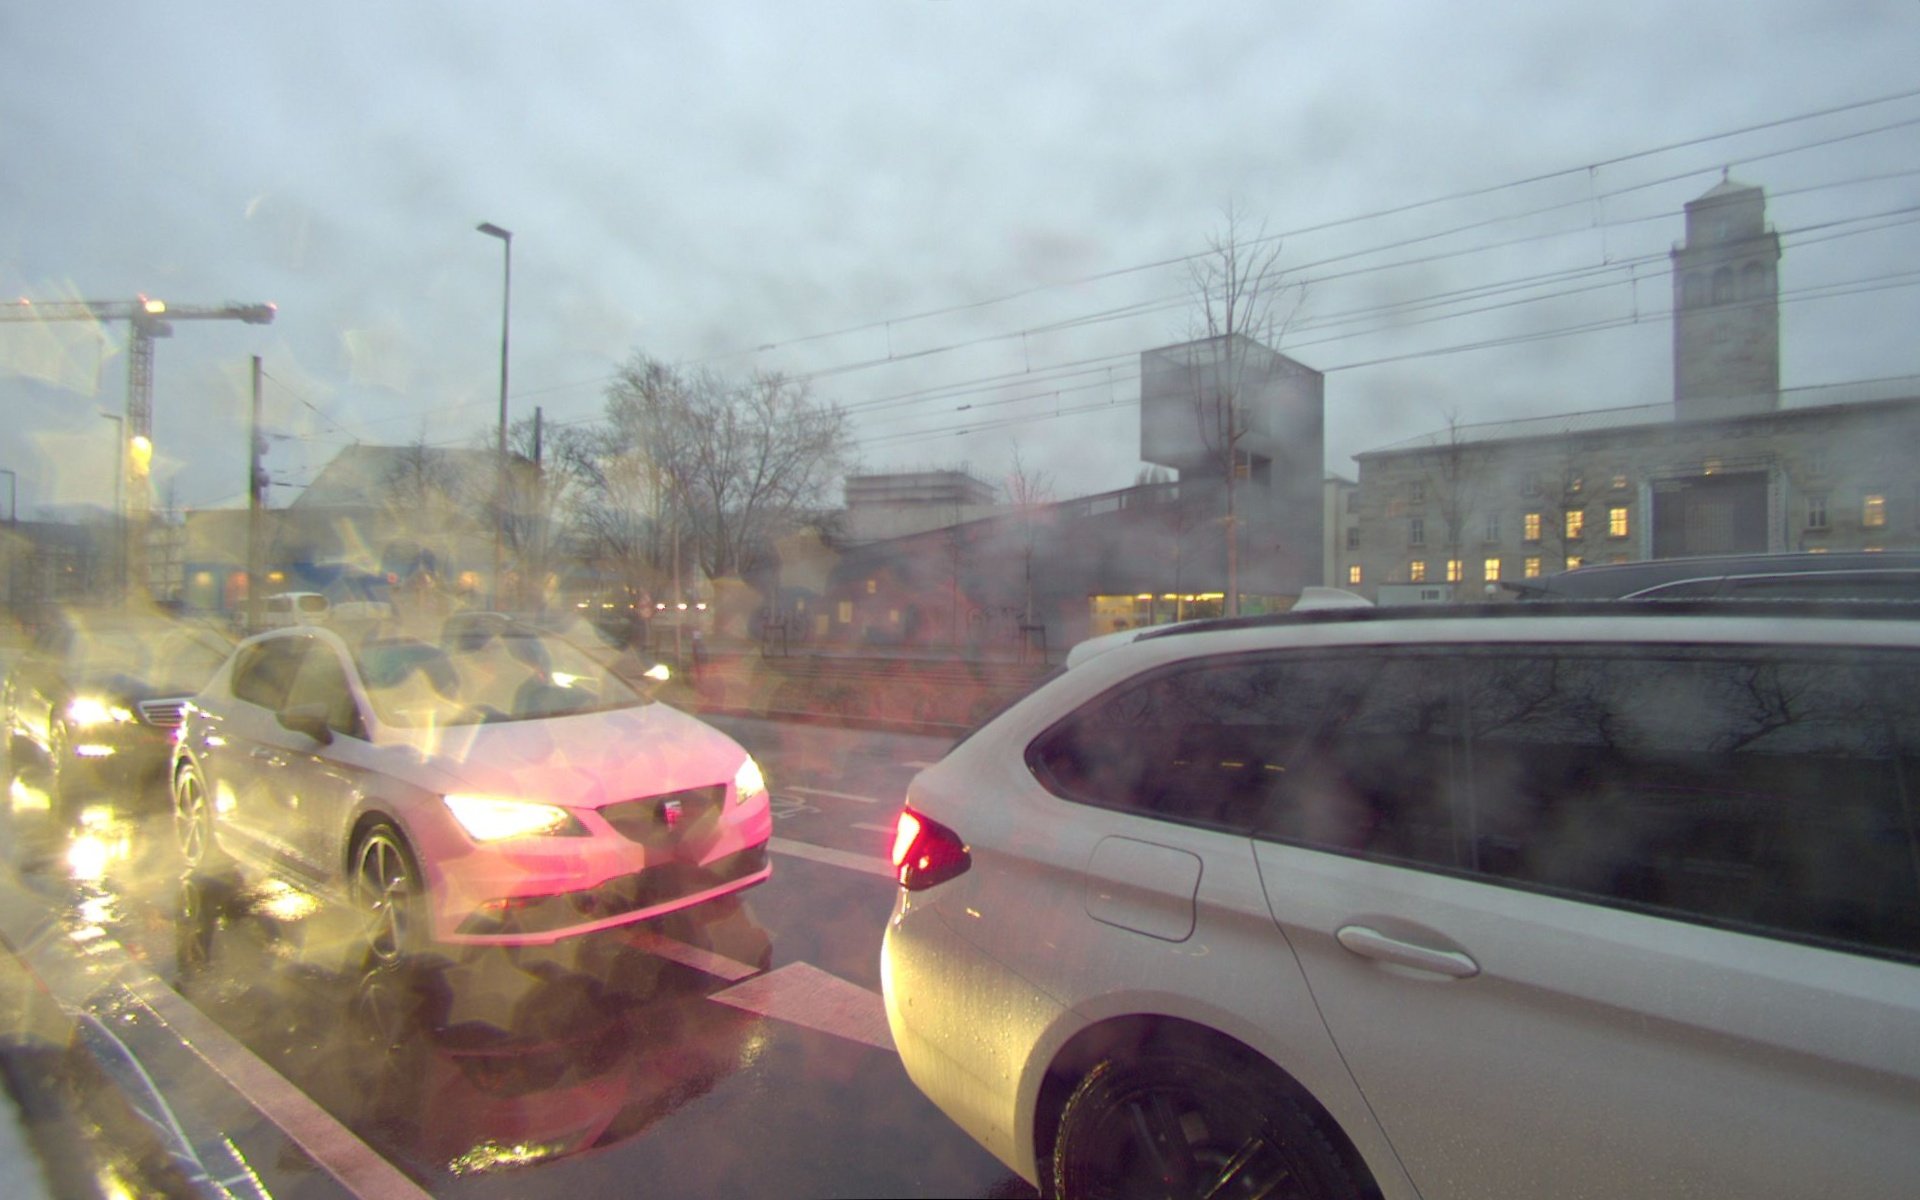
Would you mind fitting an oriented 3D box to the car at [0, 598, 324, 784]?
[{"bbox_3d":[-8.484,0.787,10.393,4.501,1.498,1.974,-1,-2,39],"label":"car"}]

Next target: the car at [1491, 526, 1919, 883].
[{"bbox_3d":[5.230,0.474,4.998,4.289,1.596,1.946,-1,-1,42],"label":"car"}]

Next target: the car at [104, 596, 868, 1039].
[{"bbox_3d":[-2.830,0.770,5.579,4.497,1.498,1.926,-1,0,37],"label":"car"}]

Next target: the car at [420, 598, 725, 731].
[{"bbox_3d":[-5.387,0.764,13.782,4.659,1.519,1.830,0,-1,39],"label":"car"}]

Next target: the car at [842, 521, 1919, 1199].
[{"bbox_3d":[2.092,0.671,1.658,4.557,1.498,1.996,-1,-2,41],"label":"car"}]

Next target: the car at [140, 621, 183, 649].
[{"bbox_3d":[-62.708,2.735,79.476,3.998,2.029,1.973,-1,0,41],"label":"car"}]

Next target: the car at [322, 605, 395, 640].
[{"bbox_3d":[-34.461,1.279,57.981,3.989,1.910,2.072,-1,-2,34],"label":"car"}]
